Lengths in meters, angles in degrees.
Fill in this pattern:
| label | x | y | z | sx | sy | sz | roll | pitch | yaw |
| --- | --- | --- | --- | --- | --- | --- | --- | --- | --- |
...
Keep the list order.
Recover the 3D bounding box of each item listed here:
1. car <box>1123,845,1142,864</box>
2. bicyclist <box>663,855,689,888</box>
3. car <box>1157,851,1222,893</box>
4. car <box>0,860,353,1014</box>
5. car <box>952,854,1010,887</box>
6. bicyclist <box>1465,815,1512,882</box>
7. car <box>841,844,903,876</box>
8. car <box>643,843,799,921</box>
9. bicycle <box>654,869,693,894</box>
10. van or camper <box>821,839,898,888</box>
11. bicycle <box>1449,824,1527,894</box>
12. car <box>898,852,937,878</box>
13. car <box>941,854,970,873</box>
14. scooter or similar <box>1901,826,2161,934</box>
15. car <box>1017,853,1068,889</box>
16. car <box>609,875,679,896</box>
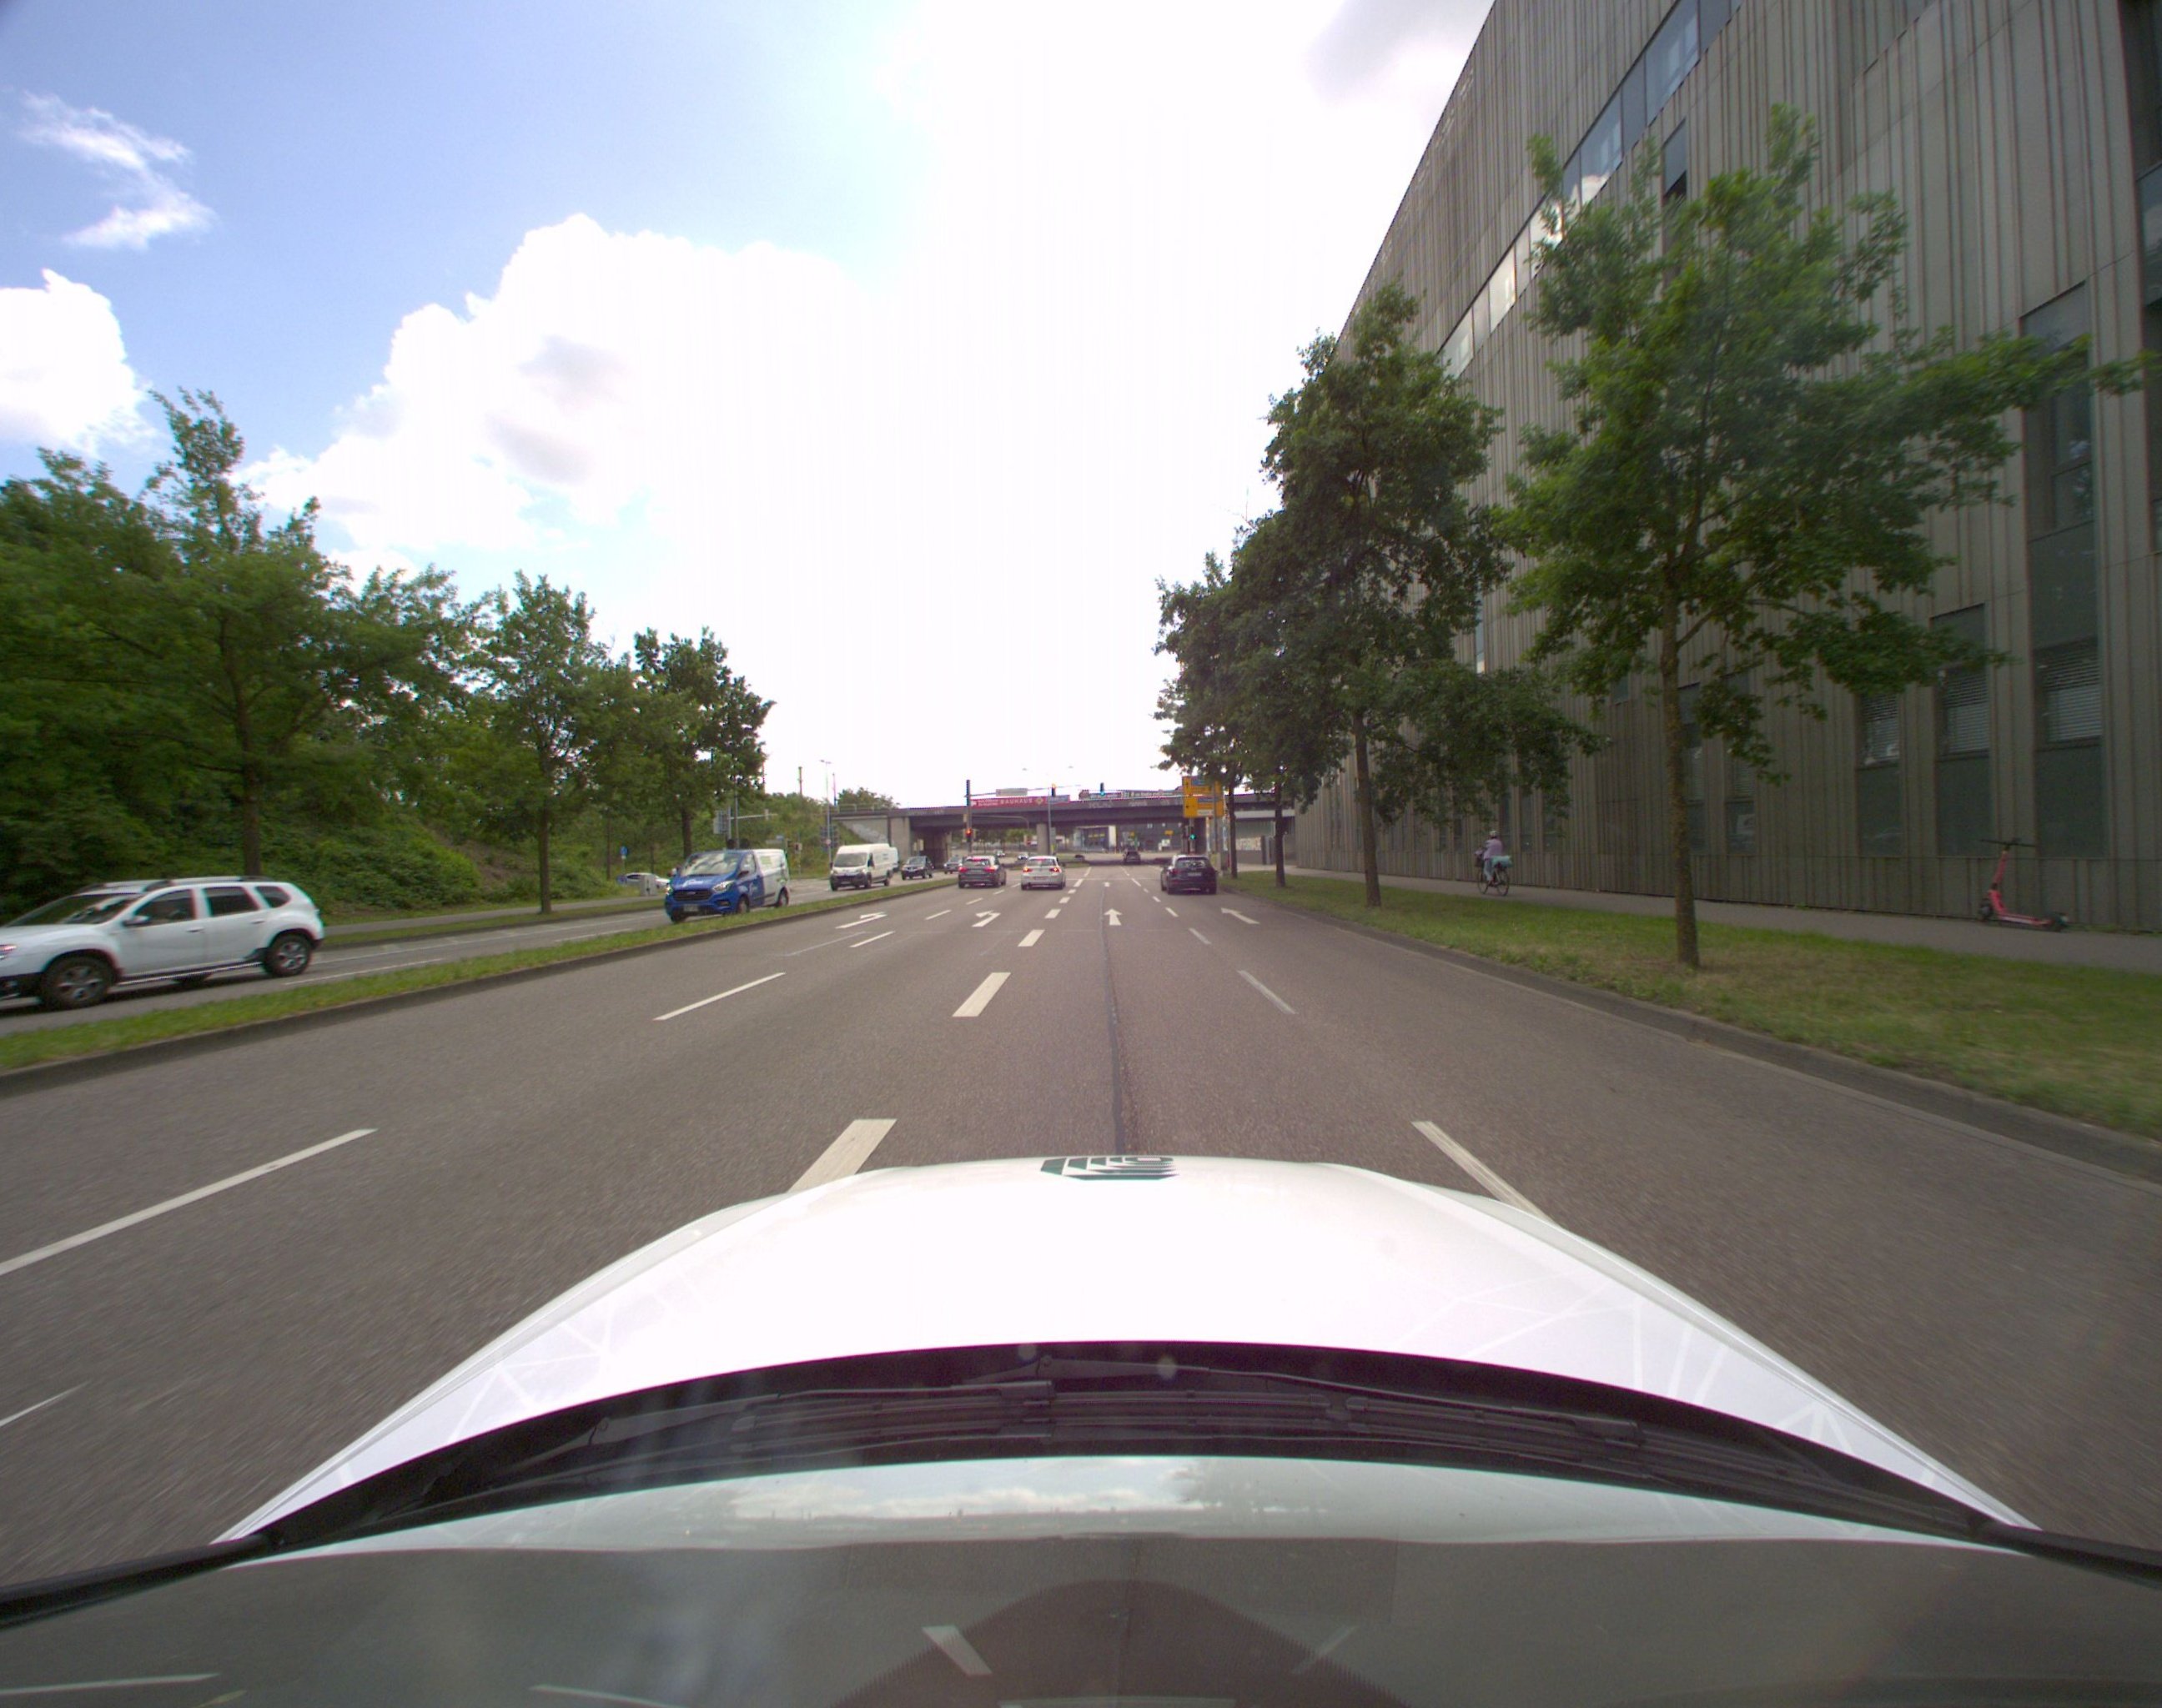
| label | x | y | z | sx | sy | sz | roll | pitch | yaw |
| --- | --- | --- | --- | --- | --- | --- | --- | --- | --- |
| car | 5.963 | 0.053 | 94.153 | 1.986 | 2.037 | 4.715 | -2 | 0 | 2 |
| bicyclist | -21.854 | 0.955 | 43.964 | 0.889 | 1.747 | 0.997 | 0 | 0 | 1 |
| car | 4.045 | 0.628 | 31.026 | 1.986 | 1.390 | 4.577 | 0 | 1 | 1 |
| car | -13.811 | 1.063 | 12.008 | 1.986 | 1.801 | 4.411 | -3 | 0 | 2 |
| car | -4.599 | 0.735 | 38.232 | 1.986 | 1.415 | 4.834 | 0 | 0 | 1 |
| bicyclist | 11.069 | -0.152 | 22.132 | 0.713 | 1.769 | 0.988 | -2 | 0 | -2 |
| car | -20.130 | 0.573 | 78.499 | 5.424 | 2.822 | 2.368 | -2 | 0 | -25 |
| car | -10.327 | 0.731 | 23.930 | 2.183 | 1.963 | 5.193 | -2 | 0 | 0 |
| bicycle | -21.906 | 1.447 | 43.845 | 0.818 | 1.270 | 2.395 | 0 | 0 | 3 |
| van or camper | -12.509 | 0.478 | 46.557 | 2.344 | 2.539 | 7.064 | -1 | 0 | 0 |
| bicycle | 11.076 | 0.119 | 22.278 | 0.718 | 1.774 | 2.531 | -2 | 0 | -2 |
| car | -12.375 | 0.808 | 61.869 | 1.987 | 1.766 | 4.220 | -2 | 0 | 1 |
| car | -11.480 | 0.884 | 74.601 | 1.799 | 1.632 | 4.394 | -2 | 0 | 1 |
| scooter or similar | 12.593 | 0.306 | 10.922 | 0.702 | 1.246 | 2.481 | -3 | 0 | 2 |
| car | -1.626 | 0.689 | 35.834 | 1.908 | 1.415 | 4.297 | 1 | 0 | 1 |
| car | -33.637 | 2.406 | 62.713 | 4.285 | 1.379 | 2.004 | -2 | 0 | 7 |
